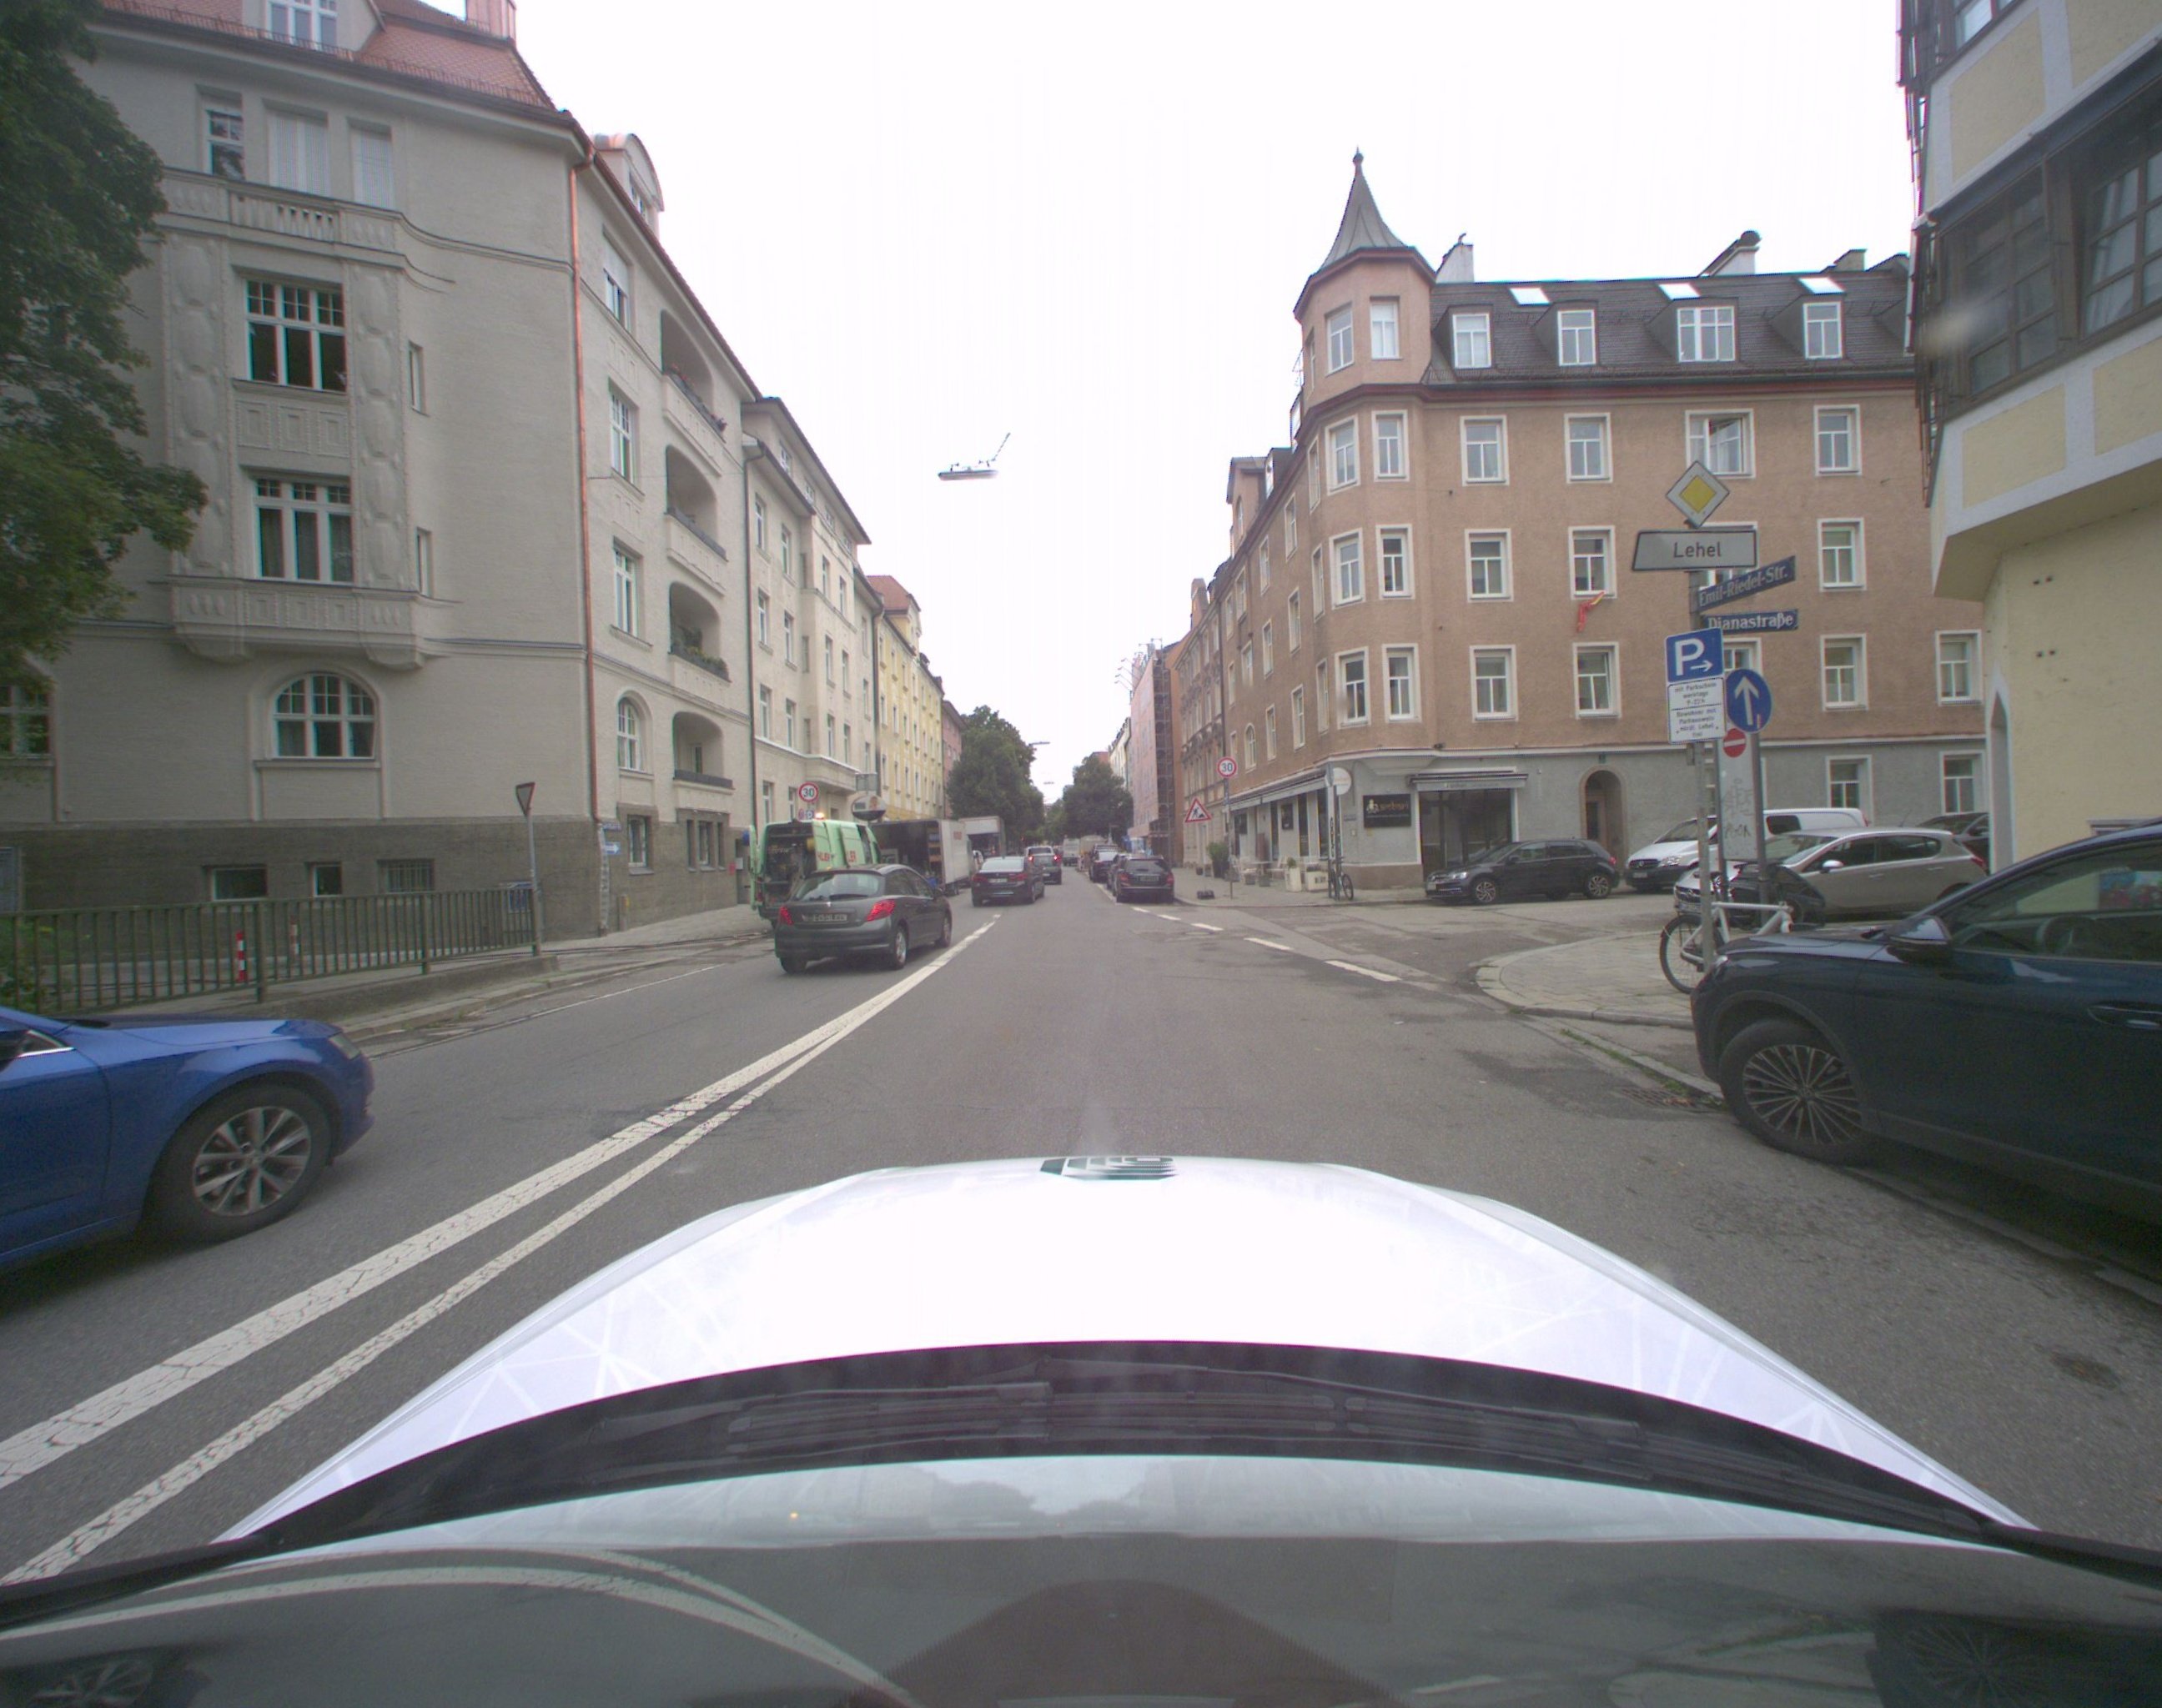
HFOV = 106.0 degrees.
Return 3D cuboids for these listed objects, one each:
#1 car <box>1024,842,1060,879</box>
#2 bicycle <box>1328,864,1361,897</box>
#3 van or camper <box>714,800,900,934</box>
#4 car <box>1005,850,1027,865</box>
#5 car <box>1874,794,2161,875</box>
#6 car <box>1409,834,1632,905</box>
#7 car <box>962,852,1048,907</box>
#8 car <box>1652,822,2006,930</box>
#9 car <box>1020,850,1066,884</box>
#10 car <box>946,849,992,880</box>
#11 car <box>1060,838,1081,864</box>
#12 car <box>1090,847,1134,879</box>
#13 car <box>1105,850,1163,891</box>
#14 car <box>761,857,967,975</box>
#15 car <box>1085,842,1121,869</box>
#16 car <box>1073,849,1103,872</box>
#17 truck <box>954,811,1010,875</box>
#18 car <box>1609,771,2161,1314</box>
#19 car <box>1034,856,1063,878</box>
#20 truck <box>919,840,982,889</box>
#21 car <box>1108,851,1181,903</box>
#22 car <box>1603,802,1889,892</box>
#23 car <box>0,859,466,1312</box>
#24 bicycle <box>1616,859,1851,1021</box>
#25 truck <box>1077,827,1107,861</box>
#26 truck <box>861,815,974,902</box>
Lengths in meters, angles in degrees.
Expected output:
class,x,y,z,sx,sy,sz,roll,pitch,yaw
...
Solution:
class,x,y,z,sx,sy,sz,roll,pitch,yaw
car,-2.345,0.343,50.175,1.984,2.075,4.140,-2,1,0
bicycle,6.863,0.671,21.233,0.455,0.805,1.327,-1,0,2
van or camper,-6.673,0.232,20.899,2.592,2.840,6.185,-2,1,0
car,-6.469,0.309,81.154,1.934,1.448,3.864,-2,0,-2
car,22.554,-0.419,19.744,4.594,1.687,2.099,-2,-2,-1
car,10.154,0.370,19.063,4.157,1.429,1.924,-2,-2,-1
car,-2.278,0.723,25.759,1.982,1.429,4.910,-2,1,3
car,11.729,0.298,12.981,4.022,1.456,1.747,-2,2,1
car,-1.755,0.581,38.973,1.984,1.429,4.140,-2,1,0
car,-6.353,0.557,46.625,1.984,1.610,4.139,-2,0,0
car,-1.023,-0.308,81.298,1.933,2.480,4.783,-2,0,1
car,1.482,0.414,40.399,1.839,1.429,4.303,1,1,-2
car,1.989,0.584,31.620,1.839,1.429,4.137,1,1,-2
car,-3.155,0.829,12.769,1.750,1.461,4.080,-2,0,5
car,1.273,0.038,48.277,1.984,1.429,4.140,-2,1,0
car,0.495,0.426,58.156,1.984,1.429,4.140,-2,1,0
truck,-6.491,-0.684,54.377,3.005,3.951,6.989,-2,0,-2
car,4.213,0.533,2.820,1.812,1.679,4.511,-3,0,1
car,-2.401,0.944,61.251,1.984,1.429,4.140,-2,1,0
truck,-6.209,0.452,39.358,2.280,2.171,4.804,-2,0,-1
car,1.939,0.666,25.872,1.839,1.429,4.180,1,1,-2
car,15.779,-0.128,19.552,5.112,1.854,2.099,-2,-2,-1
car,-4.650,0.810,2.100,1.975,1.454,4.748,-2,0,10
bicycle,5.635,0.659,7.215,0.512,1.208,1.996,-1,0,2
truck,0.929,-0.894,74.219,2.485,2.973,5.325,-2,0,-1
truck,-6.024,0.088,31.224,2.764,2.873,7.201,-2,1,0
